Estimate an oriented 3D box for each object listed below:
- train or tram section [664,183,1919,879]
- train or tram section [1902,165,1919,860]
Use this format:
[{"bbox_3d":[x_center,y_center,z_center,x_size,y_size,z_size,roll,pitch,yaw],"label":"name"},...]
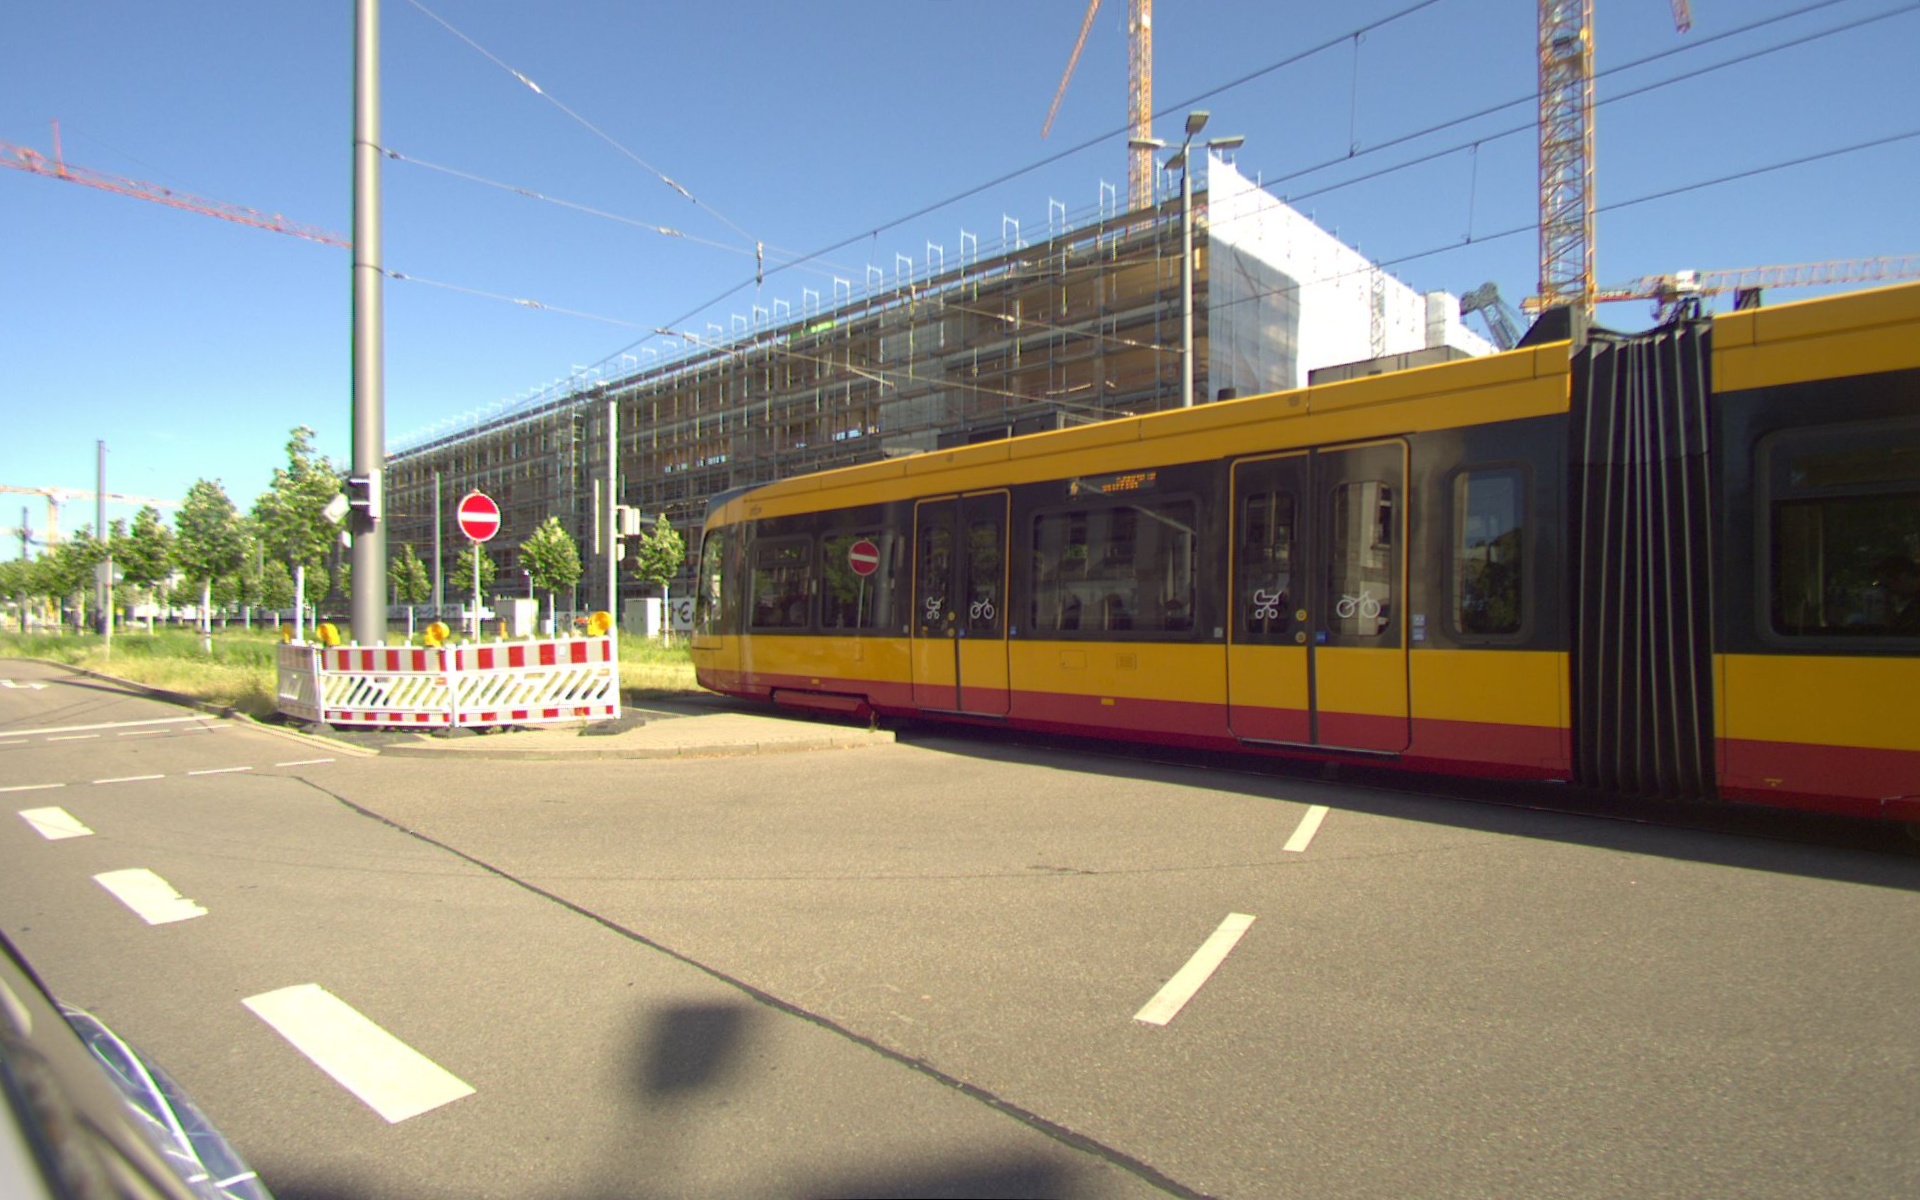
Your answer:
[{"bbox_3d":[1.032,-0.301,11.115,1.970,3.697,14.164,-1,0,-43],"label":"train or tram section"},{"bbox_3d":[9.733,-0.532,2.078,1.970,3.697,11.323,-1,0,-44],"label":"train or tram section"}]
